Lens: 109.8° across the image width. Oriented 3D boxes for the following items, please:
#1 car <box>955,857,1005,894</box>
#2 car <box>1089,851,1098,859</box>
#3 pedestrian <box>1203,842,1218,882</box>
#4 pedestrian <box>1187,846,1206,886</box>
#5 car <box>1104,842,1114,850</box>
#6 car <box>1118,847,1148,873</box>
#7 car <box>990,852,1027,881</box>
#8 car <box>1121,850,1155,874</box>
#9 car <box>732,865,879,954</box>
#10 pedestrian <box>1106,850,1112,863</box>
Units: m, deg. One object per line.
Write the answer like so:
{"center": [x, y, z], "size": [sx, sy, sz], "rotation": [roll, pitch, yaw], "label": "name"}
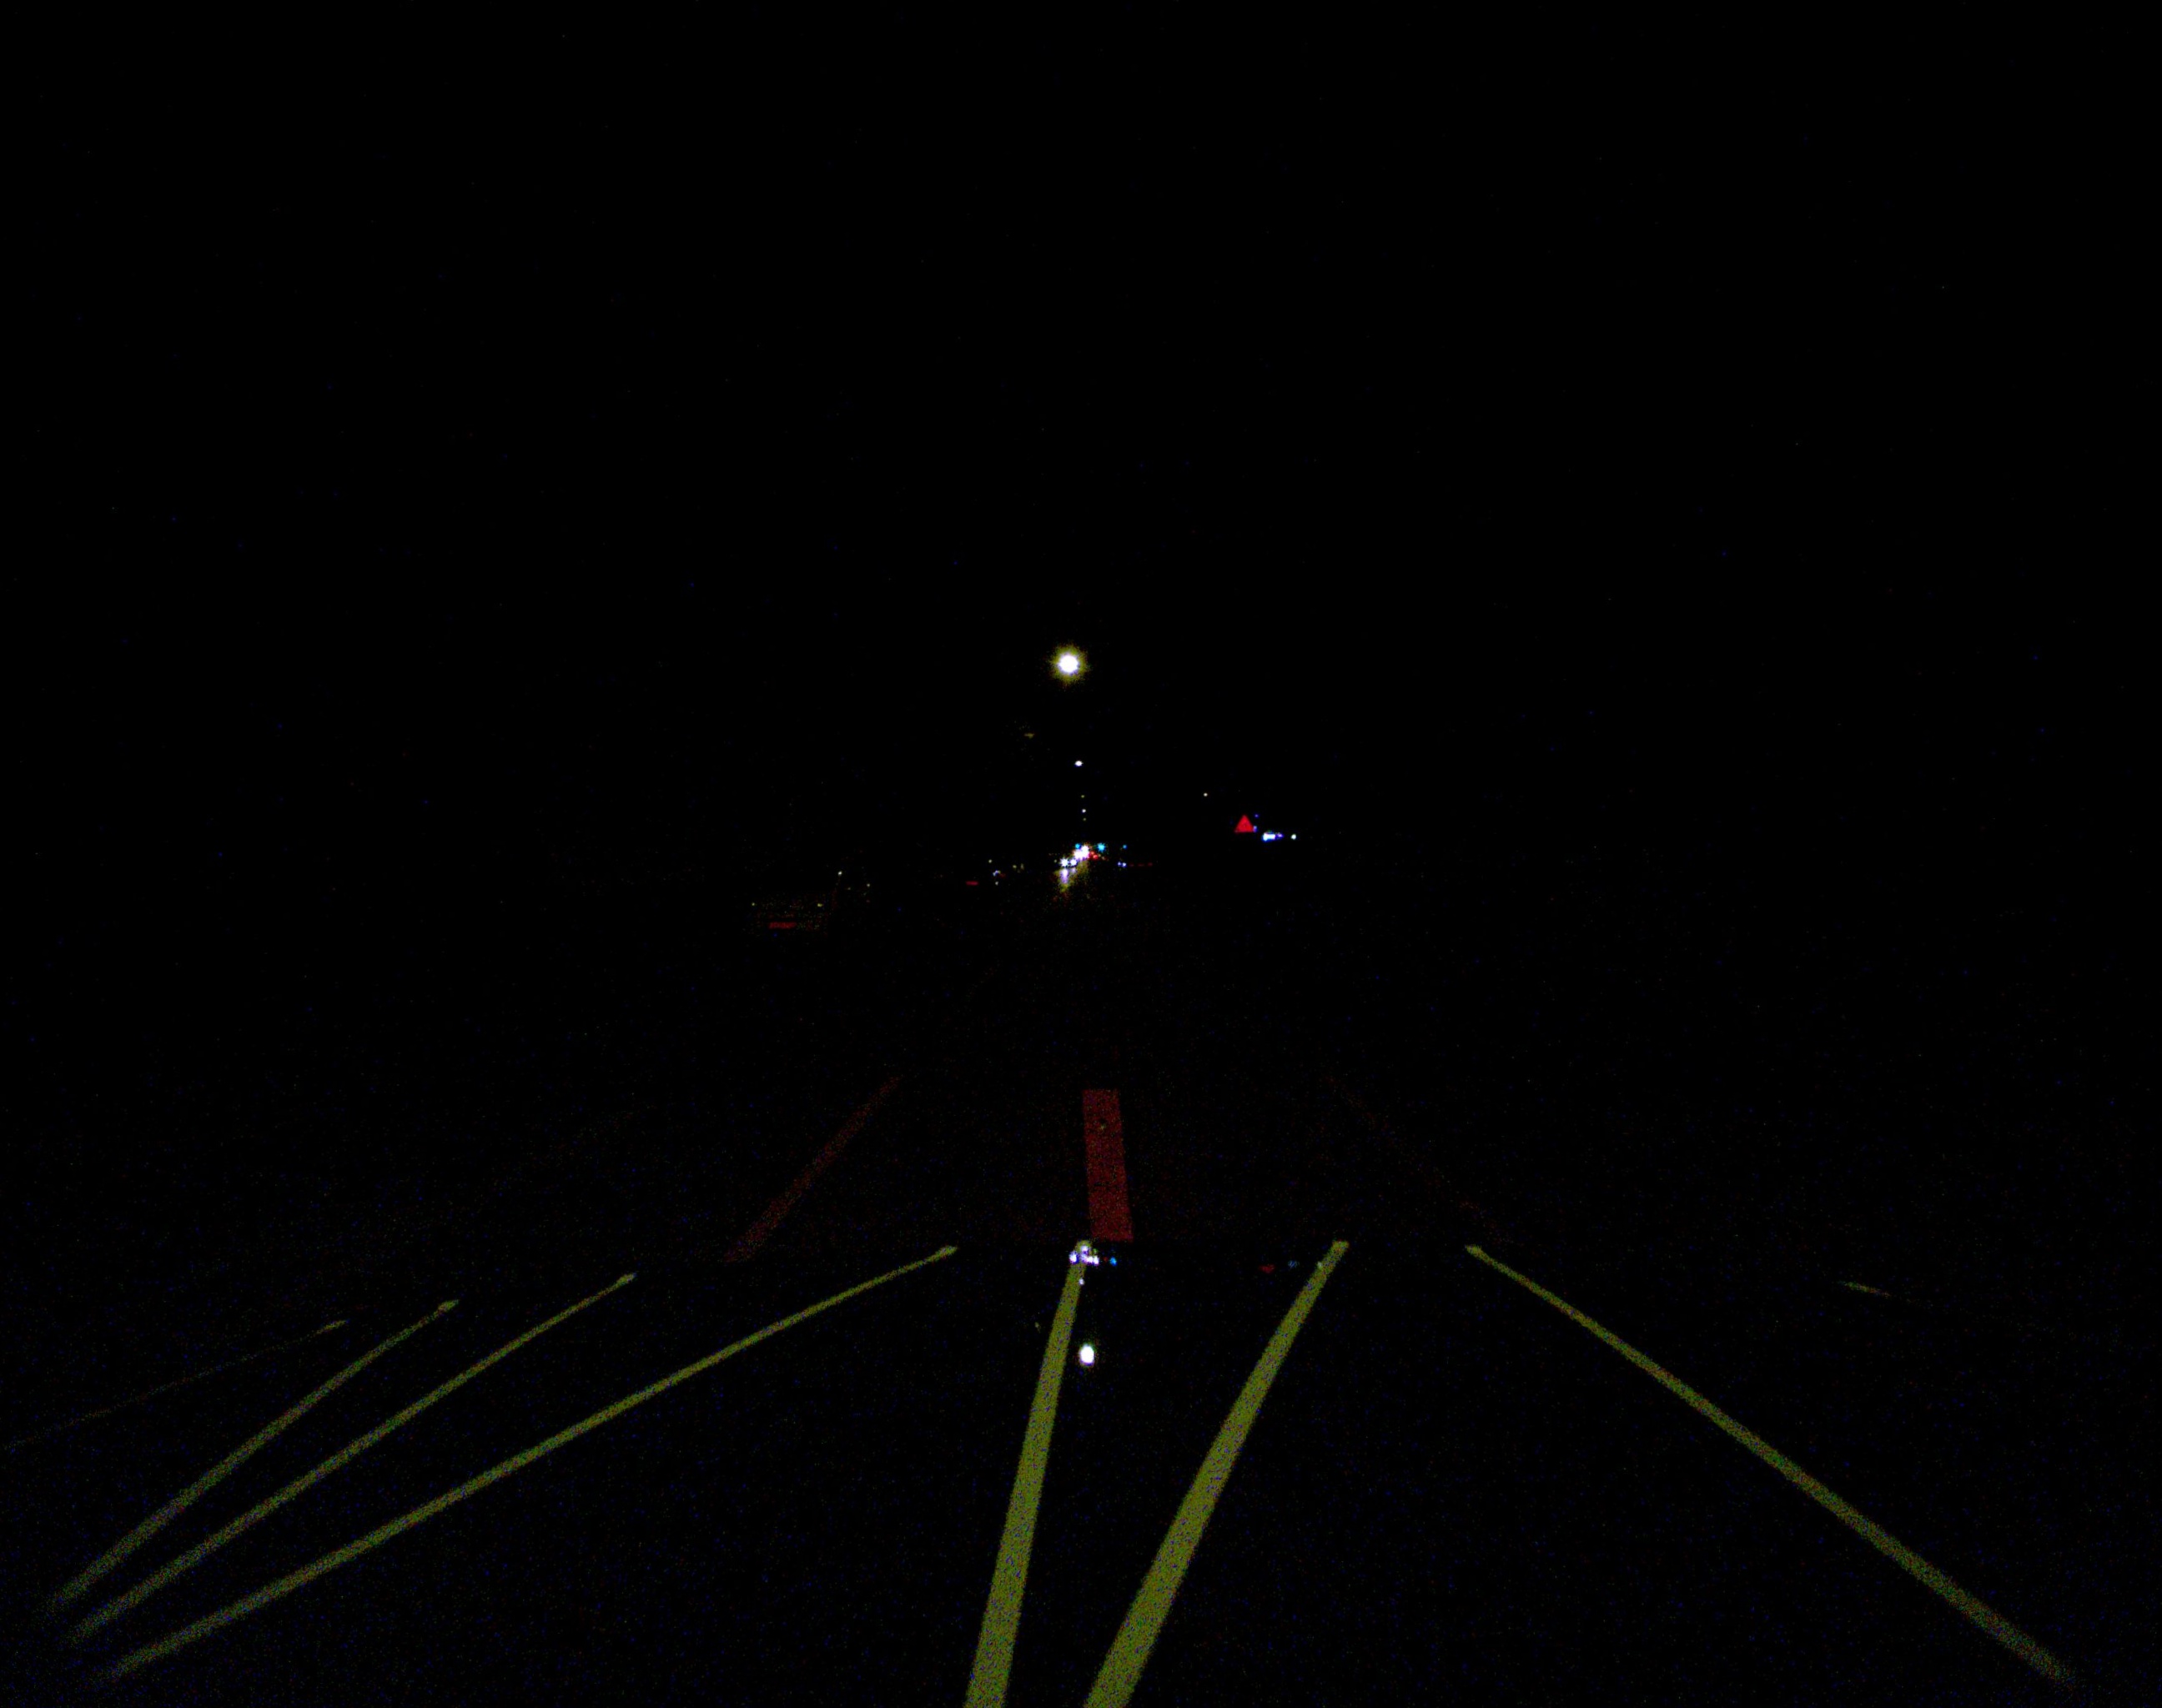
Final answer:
{"center": [-4.468, 0.904, 33.944], "size": [1.742, 1.489, 3.890], "rotation": [-1, 0, -1], "label": "car"}
{"center": [2.474, 0.149, 151.911], "size": [1.754, 1.433, 3.487], "rotation": [-2, -2, 1], "label": "car"}
{"center": [5.749, 0.367, 33.750], "size": [0.565, 1.750, 0.500], "rotation": [-2, 1, 1], "label": "pedestrian"}
{"center": [5.076, 0.523, 33.422], "size": [0.673, 1.750, 0.500], "rotation": [-2, 1, 1], "label": "pedestrian"}
{"center": [5.740, -1.584, 154.007], "size": [1.903, 1.581, 3.661], "rotation": [-2, 1, 2], "label": "car"}
{"center": [3.868, 0.409, 56.905], "size": [1.998, 1.772, 3.999], "rotation": [-2, 1, 1], "label": "car"}
{"center": [-4.458, 0.750, 47.476], "size": [1.852, 1.643, 4.179], "rotation": [-2, 0, 0], "label": "car"}
{"center": [3.892, 0.512, 52.077], "size": [1.998, 1.477, 3.999], "rotation": [-3, 1, 1], "label": "car"}
{"center": [-5.291, 1.007, 15.063], "size": [1.611, 1.500, 3.486], "rotation": [0, 0, 1], "label": "car"}
{"center": [4.336, 0.390, 118.144], "size": [0.804, 2.002, 0.940], "rotation": [-2, 1, 1], "label": "pedestrian"}
